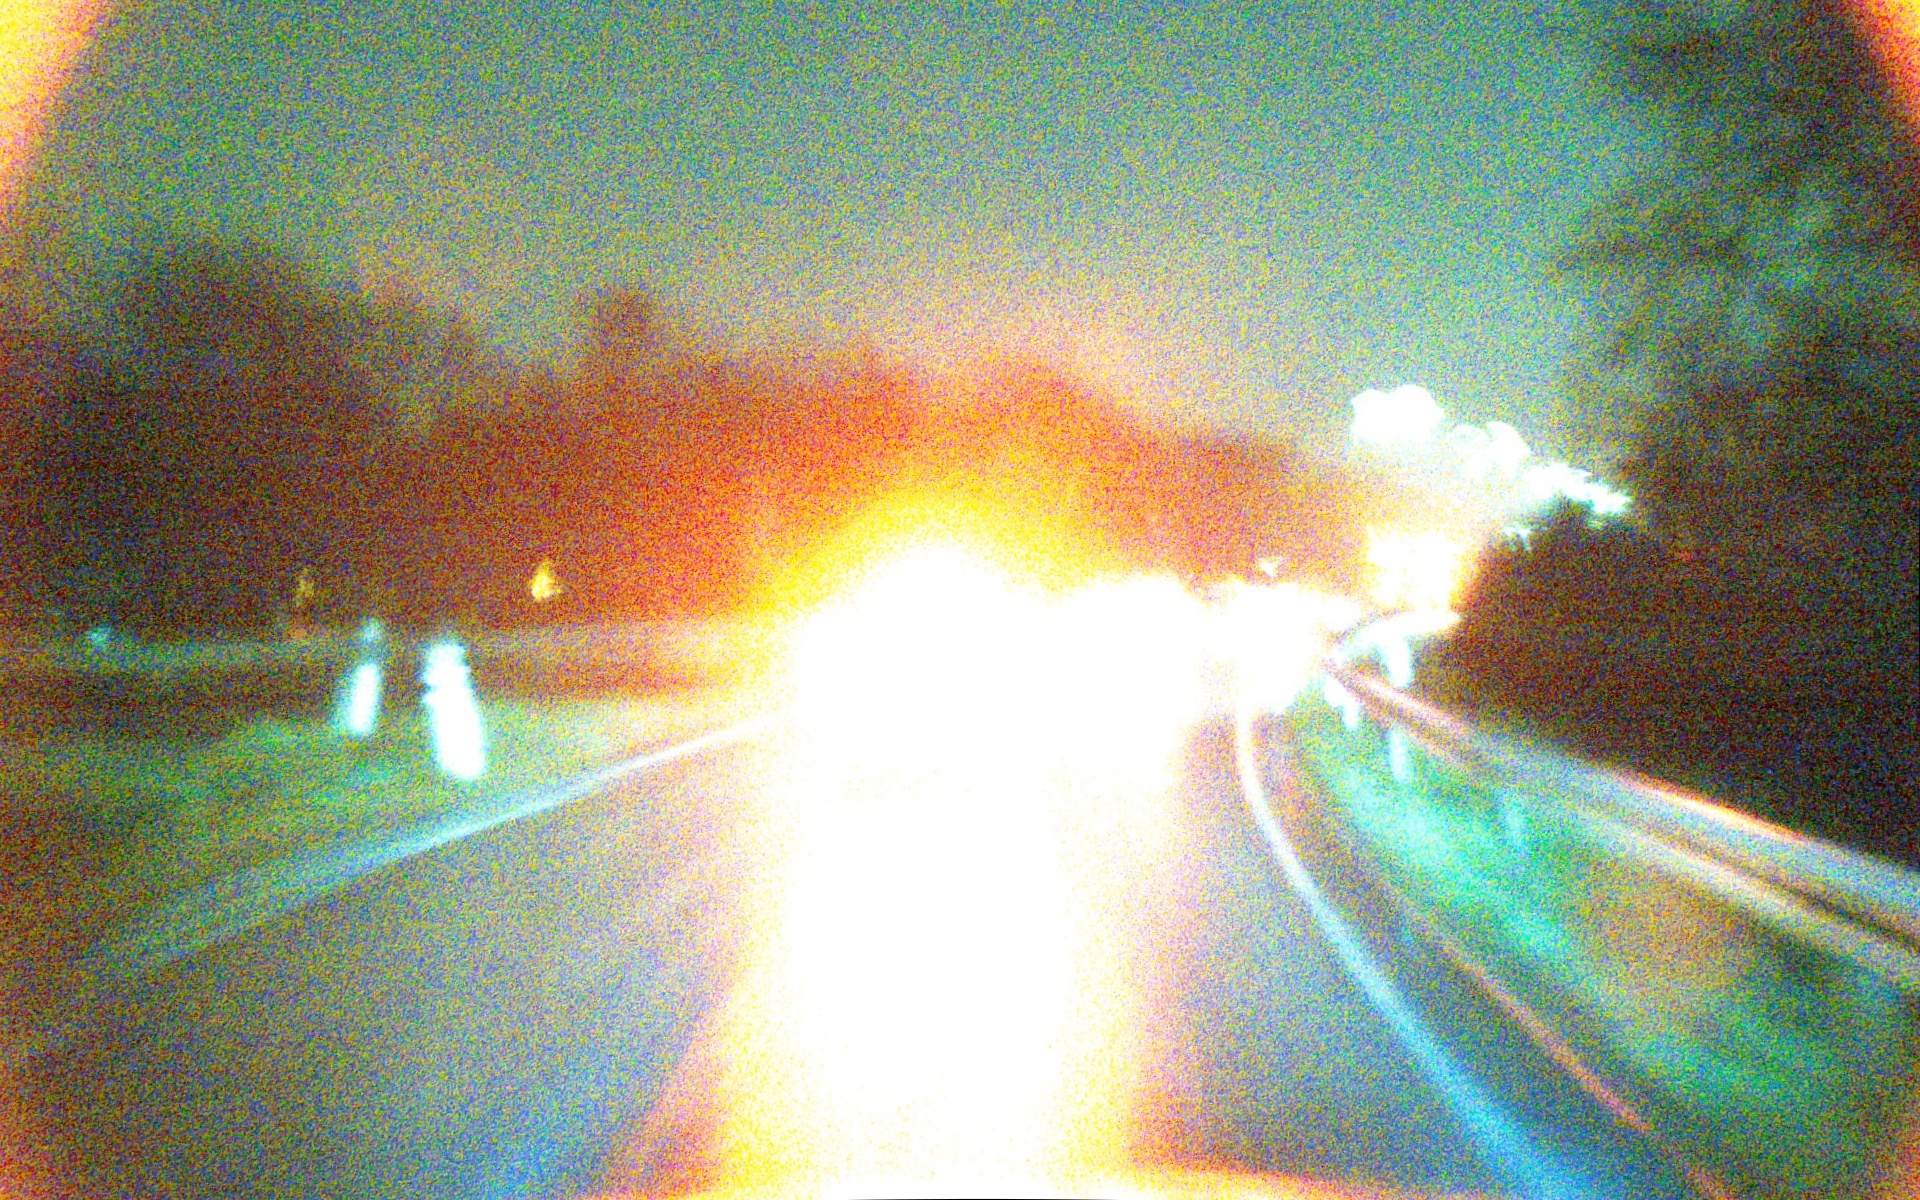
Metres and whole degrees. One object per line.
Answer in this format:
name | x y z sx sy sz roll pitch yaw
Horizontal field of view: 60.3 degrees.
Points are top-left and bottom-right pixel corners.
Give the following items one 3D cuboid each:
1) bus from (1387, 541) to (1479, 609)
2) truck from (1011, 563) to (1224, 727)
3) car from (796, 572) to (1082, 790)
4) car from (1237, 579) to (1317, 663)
bus | 23.388 -1.255 81.500 2.690 3.178 9.191 1 1 27
truck | 3.084 0.730 30.185 3.004 2.572 7.172 1 0 12
car | -0.019 0.571 13.456 1.903 1.517 3.718 -1 0 6
car | 8.007 0.511 41.586 1.797 1.982 4.003 1 0 13
